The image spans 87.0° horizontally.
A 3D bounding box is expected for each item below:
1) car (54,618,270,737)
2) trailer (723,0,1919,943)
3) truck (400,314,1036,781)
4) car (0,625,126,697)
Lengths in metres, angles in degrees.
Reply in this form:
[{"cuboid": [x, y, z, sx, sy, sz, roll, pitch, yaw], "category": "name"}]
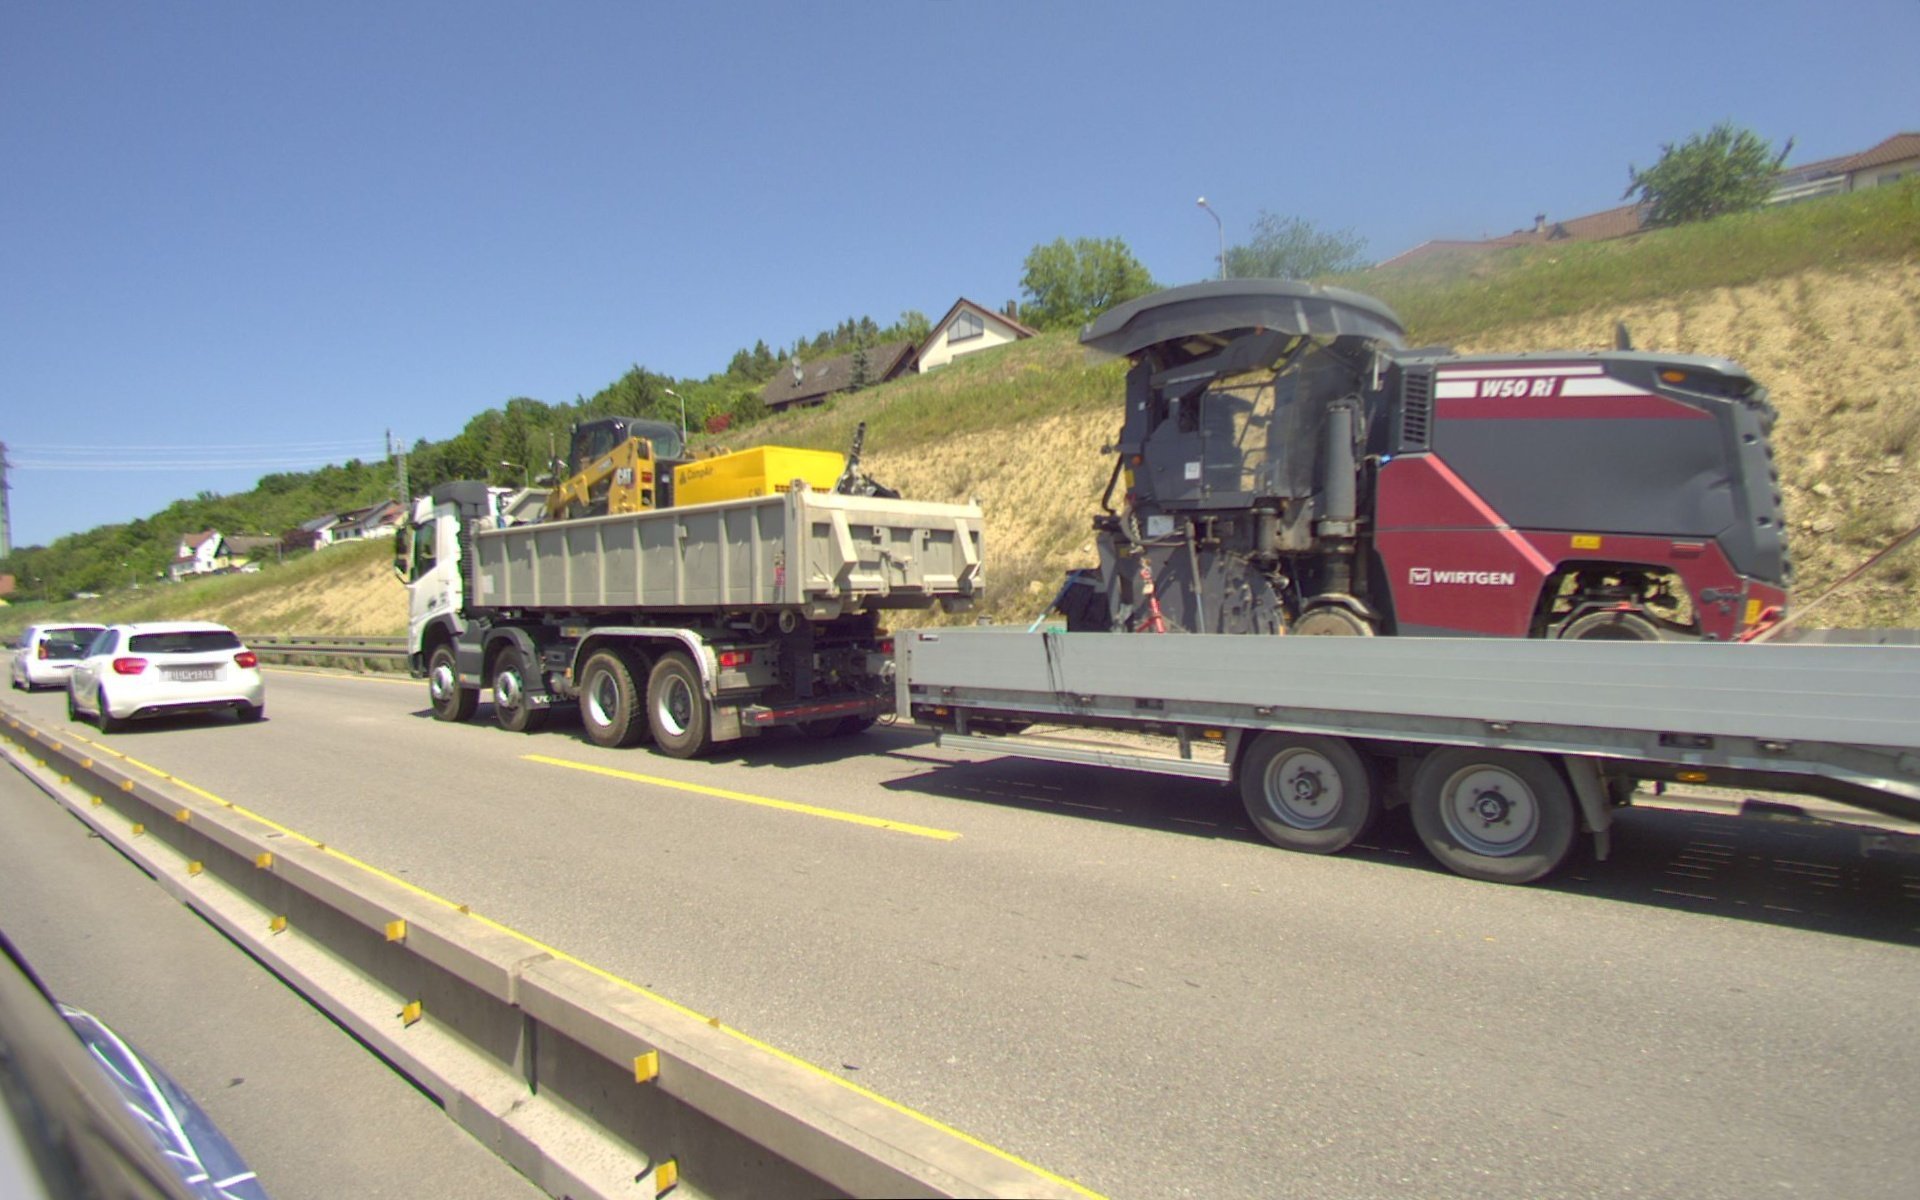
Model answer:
[{"cuboid": [-11.507, 1.012, 14.498, 4.119, 1.441, 1.667, -2, -1, 41], "category": "car"}, {"cuboid": [2.101, -0.435, 7.109, 9.075, 3.664, 2.560, -2, -1, 42], "category": "trailer"}, {"cuboid": [-3.597, -0.334, 12.195, 9.329, 3.751, 2.560, -2, -1, 42], "category": "truck"}, {"cuboid": [-19.985, 1.297, 22.517, 3.290, 1.441, 1.667, -2, -1, 41], "category": "car"}]
